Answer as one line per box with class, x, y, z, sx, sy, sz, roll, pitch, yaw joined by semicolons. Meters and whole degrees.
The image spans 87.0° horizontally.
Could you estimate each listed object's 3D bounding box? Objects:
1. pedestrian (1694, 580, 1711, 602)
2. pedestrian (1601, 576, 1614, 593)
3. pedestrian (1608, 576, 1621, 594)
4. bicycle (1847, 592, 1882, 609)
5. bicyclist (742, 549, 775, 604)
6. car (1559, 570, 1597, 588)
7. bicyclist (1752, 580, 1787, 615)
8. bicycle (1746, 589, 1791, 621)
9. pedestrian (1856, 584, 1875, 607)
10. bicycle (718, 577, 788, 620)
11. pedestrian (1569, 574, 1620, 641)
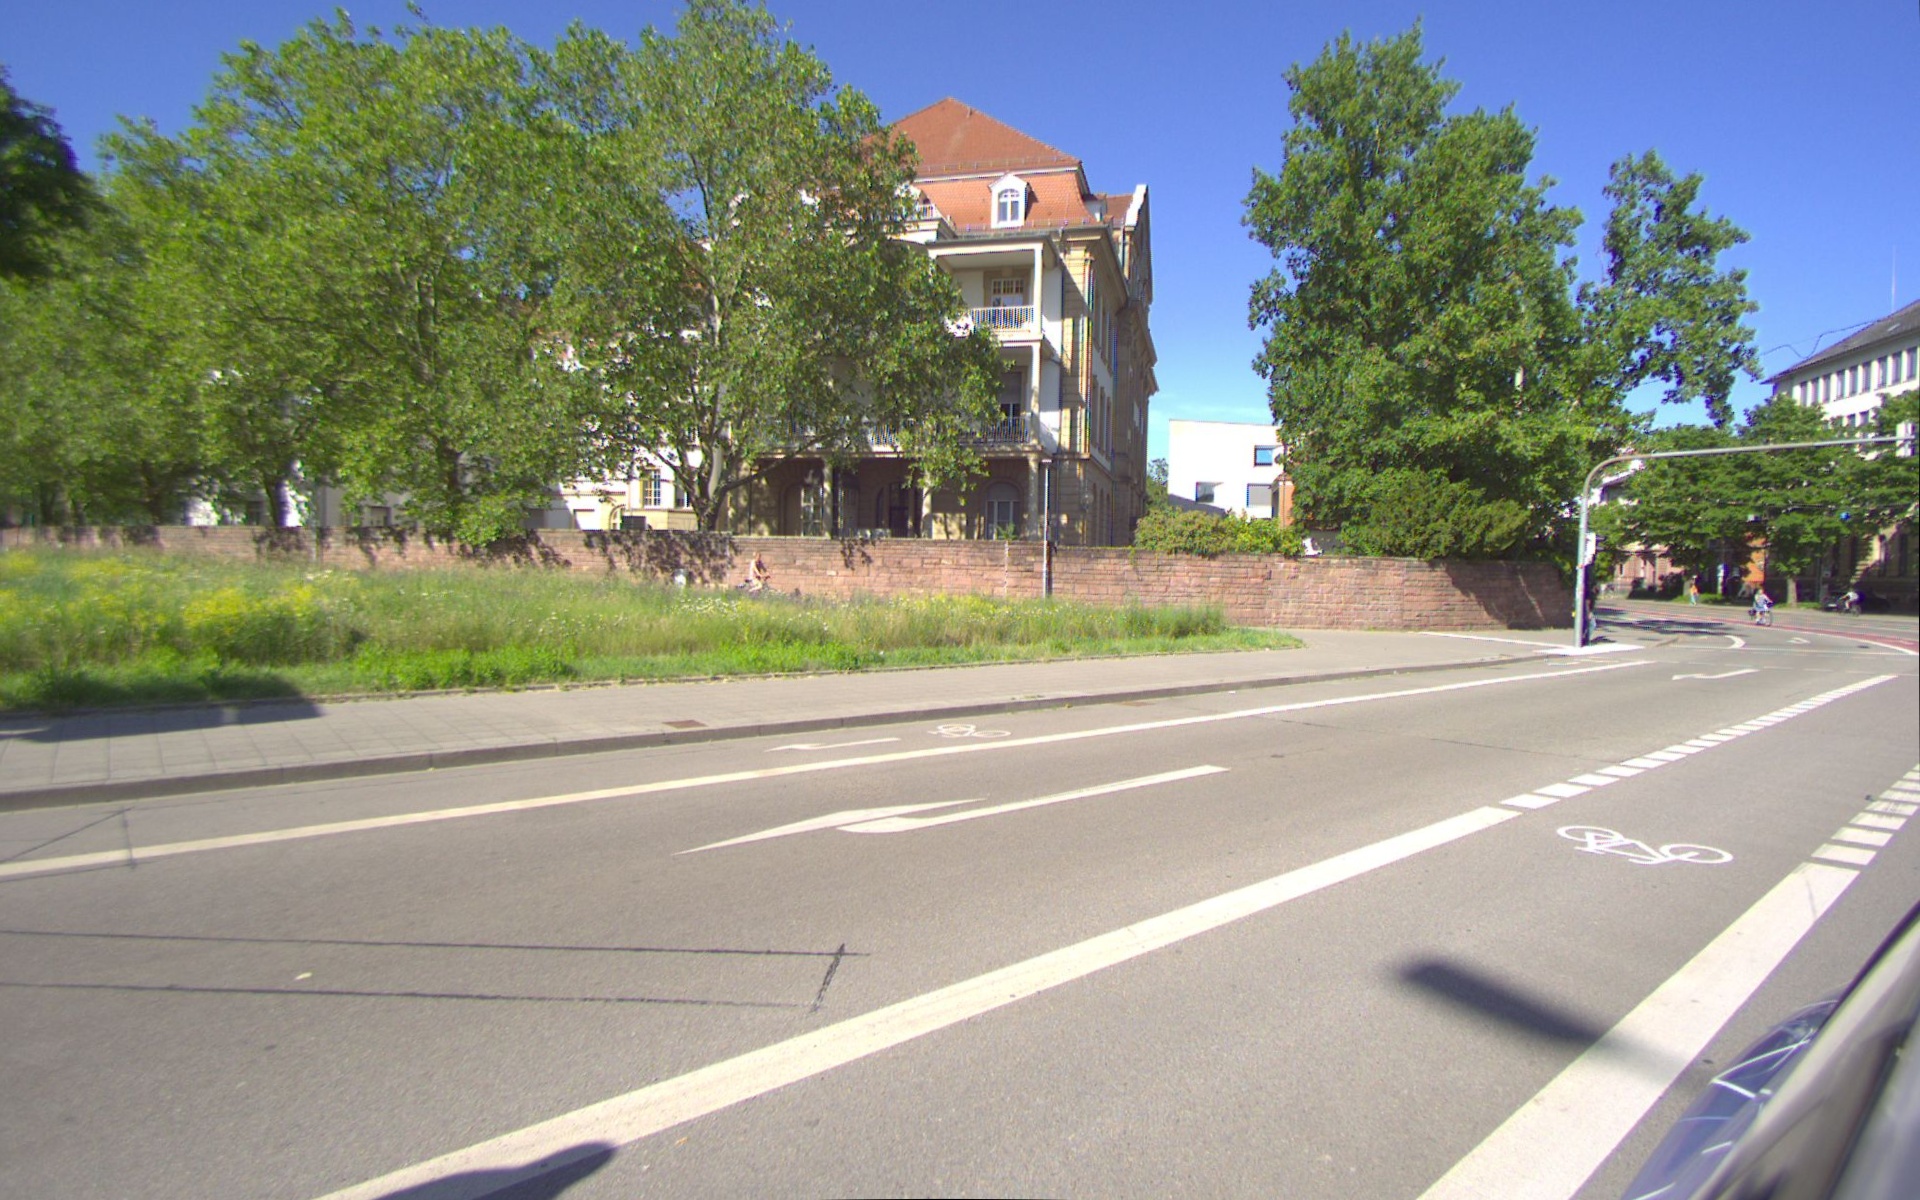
pedestrian;62.379;-0.766;84.997;0.745;1.835;0.978;1;1;9
pedestrian;69.800;-1.704;109.091;0.745;1.835;0.978;1;1;10
pedestrian;67.543;-1.515;104.429;0.746;1.835;0.976;2;1;14
bicycle;55.915;0.006;62.577;0.591;1.019;1.982;0;1;9
bicyclist;-6.028;-0.712;30.346;0.765;1.626;0.720;1;1;11
car;60.995;-2.082;99.923;1.819;1.571;4.322;3;3;12
bicyclist;37.447;-0.143;46.836;0.859;1.579;1.272;2;2;20
bicycle;37.473;0.214;46.927;0.753;1.385;2.720;2;2;20
pedestrian;55.910;-0.276;62.498;0.586;1.420;0.644;0;0;10
bicycle;-6.192;-0.037;30.271;1.855;1.083;0.722;5;-1;11
pedestrian;18.491;0.198;29.501;0.718;1.872;0.961;0;3;-37
